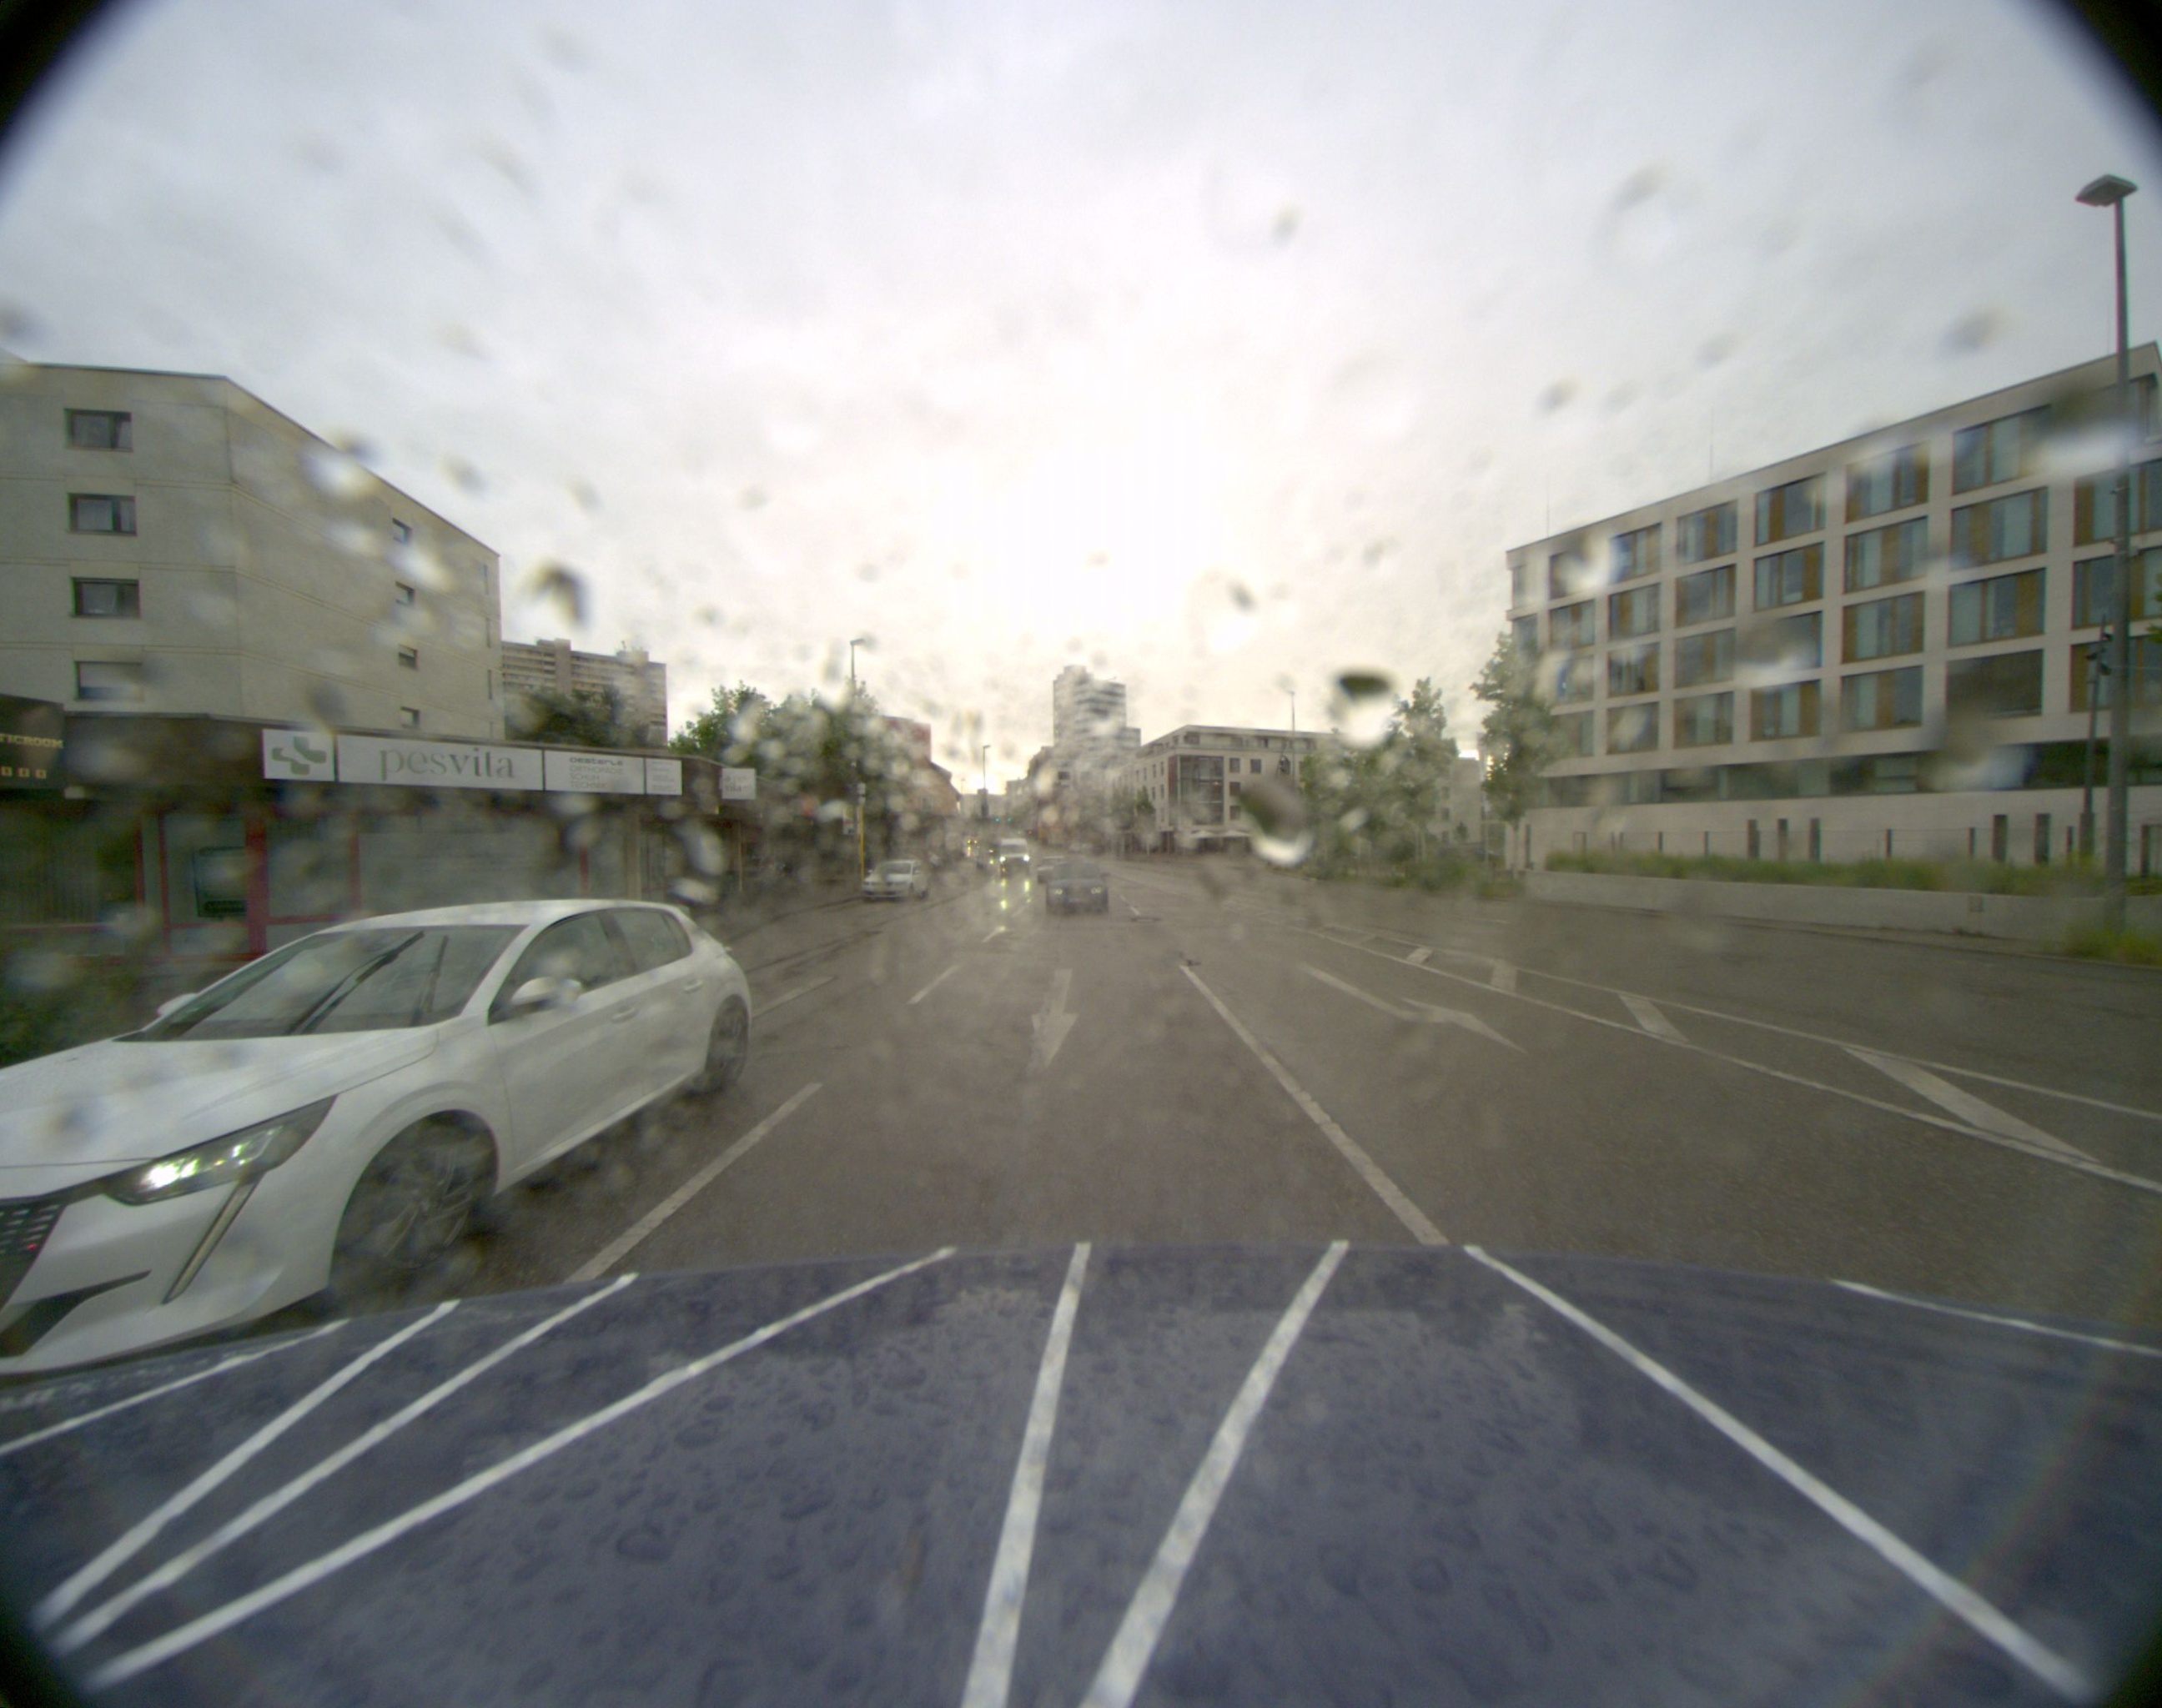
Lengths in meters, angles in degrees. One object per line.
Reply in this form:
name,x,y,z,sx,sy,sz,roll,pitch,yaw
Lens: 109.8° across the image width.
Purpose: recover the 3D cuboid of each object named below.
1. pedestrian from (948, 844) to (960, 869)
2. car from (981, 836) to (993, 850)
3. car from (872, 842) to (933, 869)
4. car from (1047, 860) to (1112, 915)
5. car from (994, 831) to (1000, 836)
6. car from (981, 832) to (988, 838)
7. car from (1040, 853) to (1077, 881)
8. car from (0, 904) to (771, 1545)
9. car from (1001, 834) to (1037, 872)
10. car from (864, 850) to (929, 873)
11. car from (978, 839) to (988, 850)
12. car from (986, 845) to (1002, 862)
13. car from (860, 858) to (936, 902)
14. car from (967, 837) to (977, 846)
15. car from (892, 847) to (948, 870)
pedestrian,-9.411,0.190,56.421,0.750,1.771,0.752,-2,1,-3
car,-14.399,-1.676,116.049,1.722,1.988,3.833,-2,0,-8
car,-12.401,0.107,52.957,4.000,1.769,1.882,-1,0,-10
car,-0.092,0.906,22.264,1.693,1.380,3.999,-2,0,-1
car,-27.374,-6.685,247.185,1.666,1.624,3.802,-2,0,-8
car,-26.718,-5.330,210.311,1.666,1.624,3.801,-2,0,-11
car,-1.195,0.689,42.322,1.788,1.338,4.161,-2,1,1
car,-3.375,1.137,4.067,1.666,1.407,4.115,-2,0,1
car,-4.402,-0.104,54.478,2.197,2.503,6.121,-1,1,-2
car,-12.154,0.458,50.292,4.000,1.419,1.882,-1,0,-10
car,-18.031,-1.783,139.045,1.722,1.988,3.833,-2,0,-8
car,-10.895,-0.072,95.542,1.721,1.988,3.834,-2,0,-4
car,-6.862,0.931,28.851,1.788,1.481,4.000,-2,0,1
car,-24.505,-2.760,171.339,1.999,2.002,3.997,-2,1,-6
car,-11.901,0.358,56.415,4.000,1.584,1.883,-1,-1,-10
